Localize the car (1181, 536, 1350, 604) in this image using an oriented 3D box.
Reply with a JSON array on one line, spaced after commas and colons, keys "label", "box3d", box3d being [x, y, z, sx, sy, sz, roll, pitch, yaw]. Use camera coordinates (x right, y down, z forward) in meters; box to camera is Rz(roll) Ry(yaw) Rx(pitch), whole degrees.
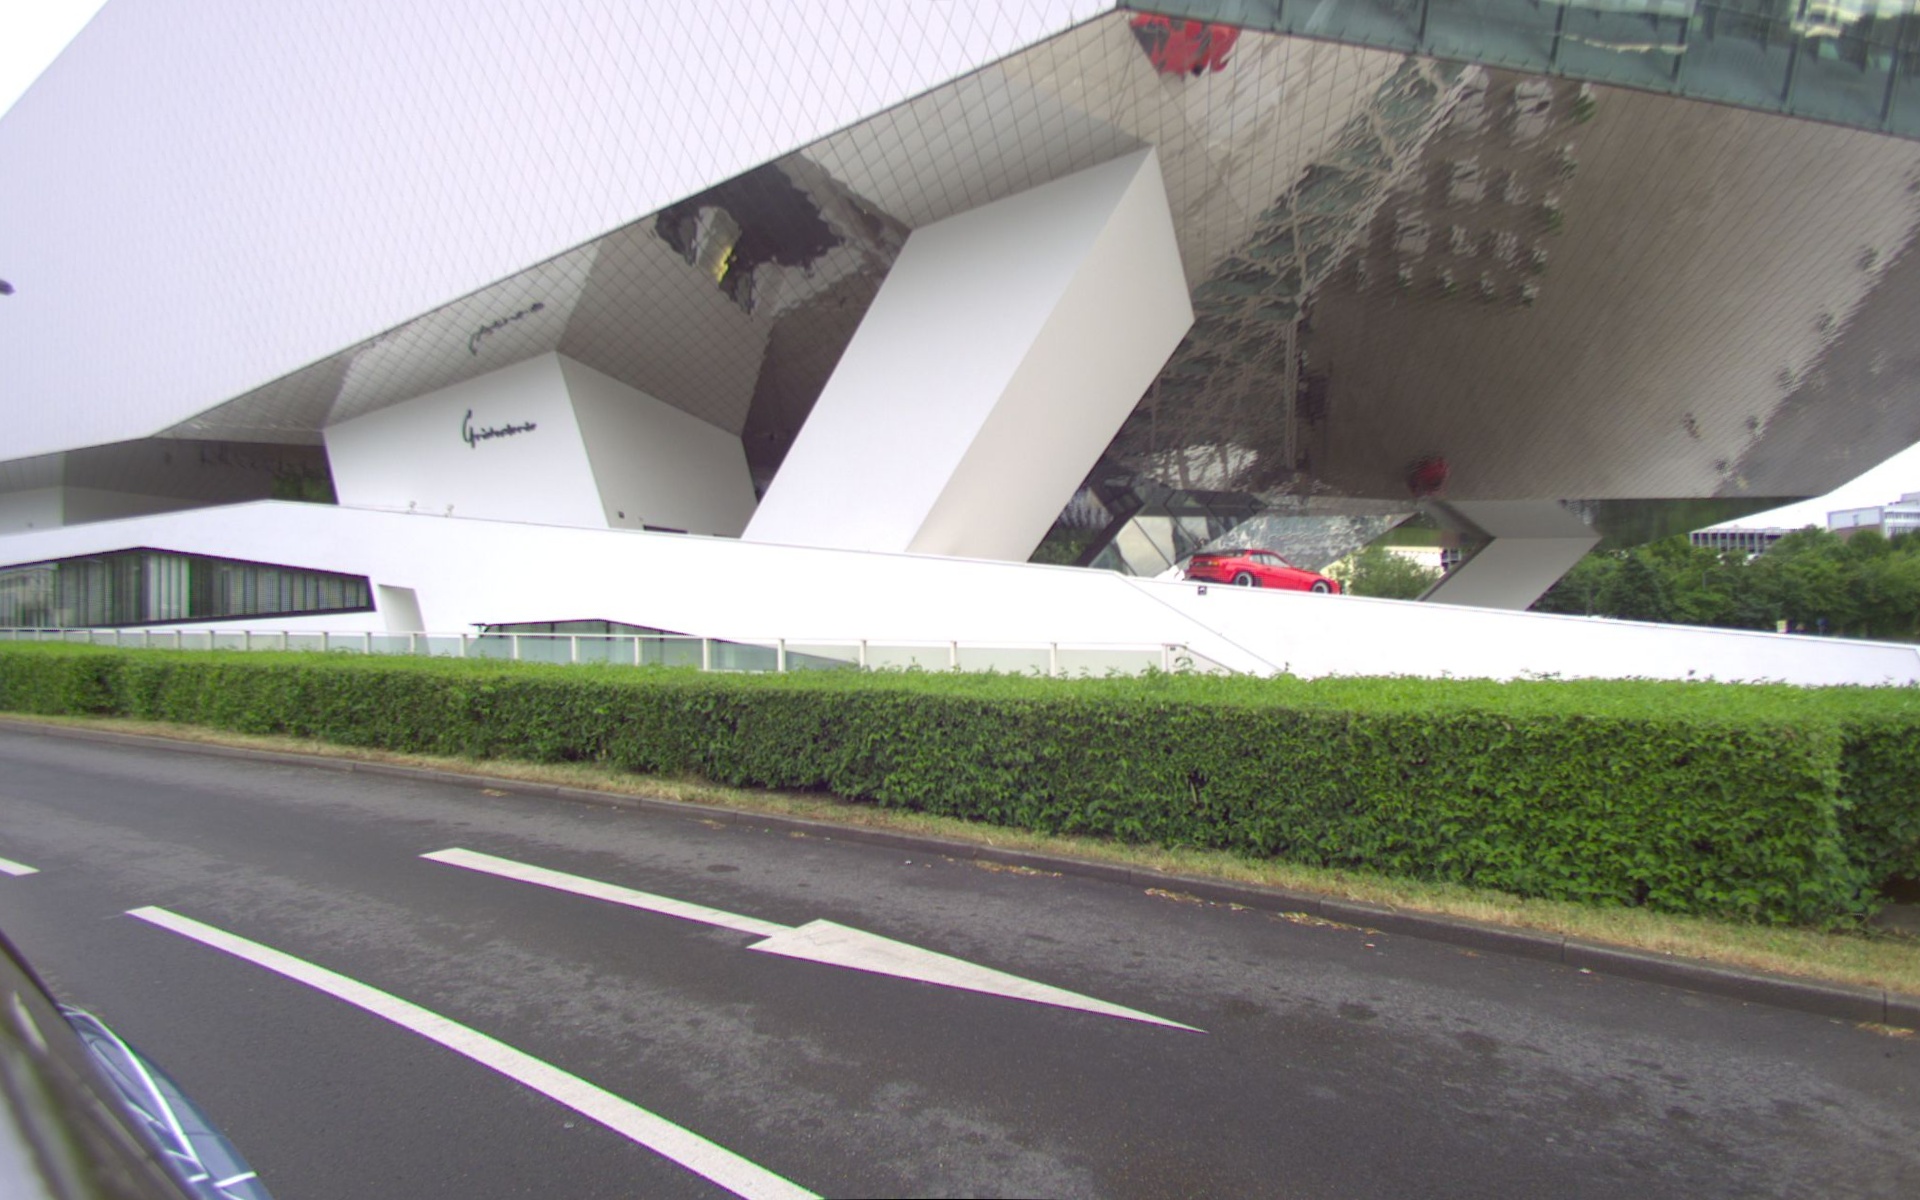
[{"label": "car", "box3d": [8.258, -0.779, 27.409, 4.032, 1.252, 1.643, 7, -4, -15]}]
